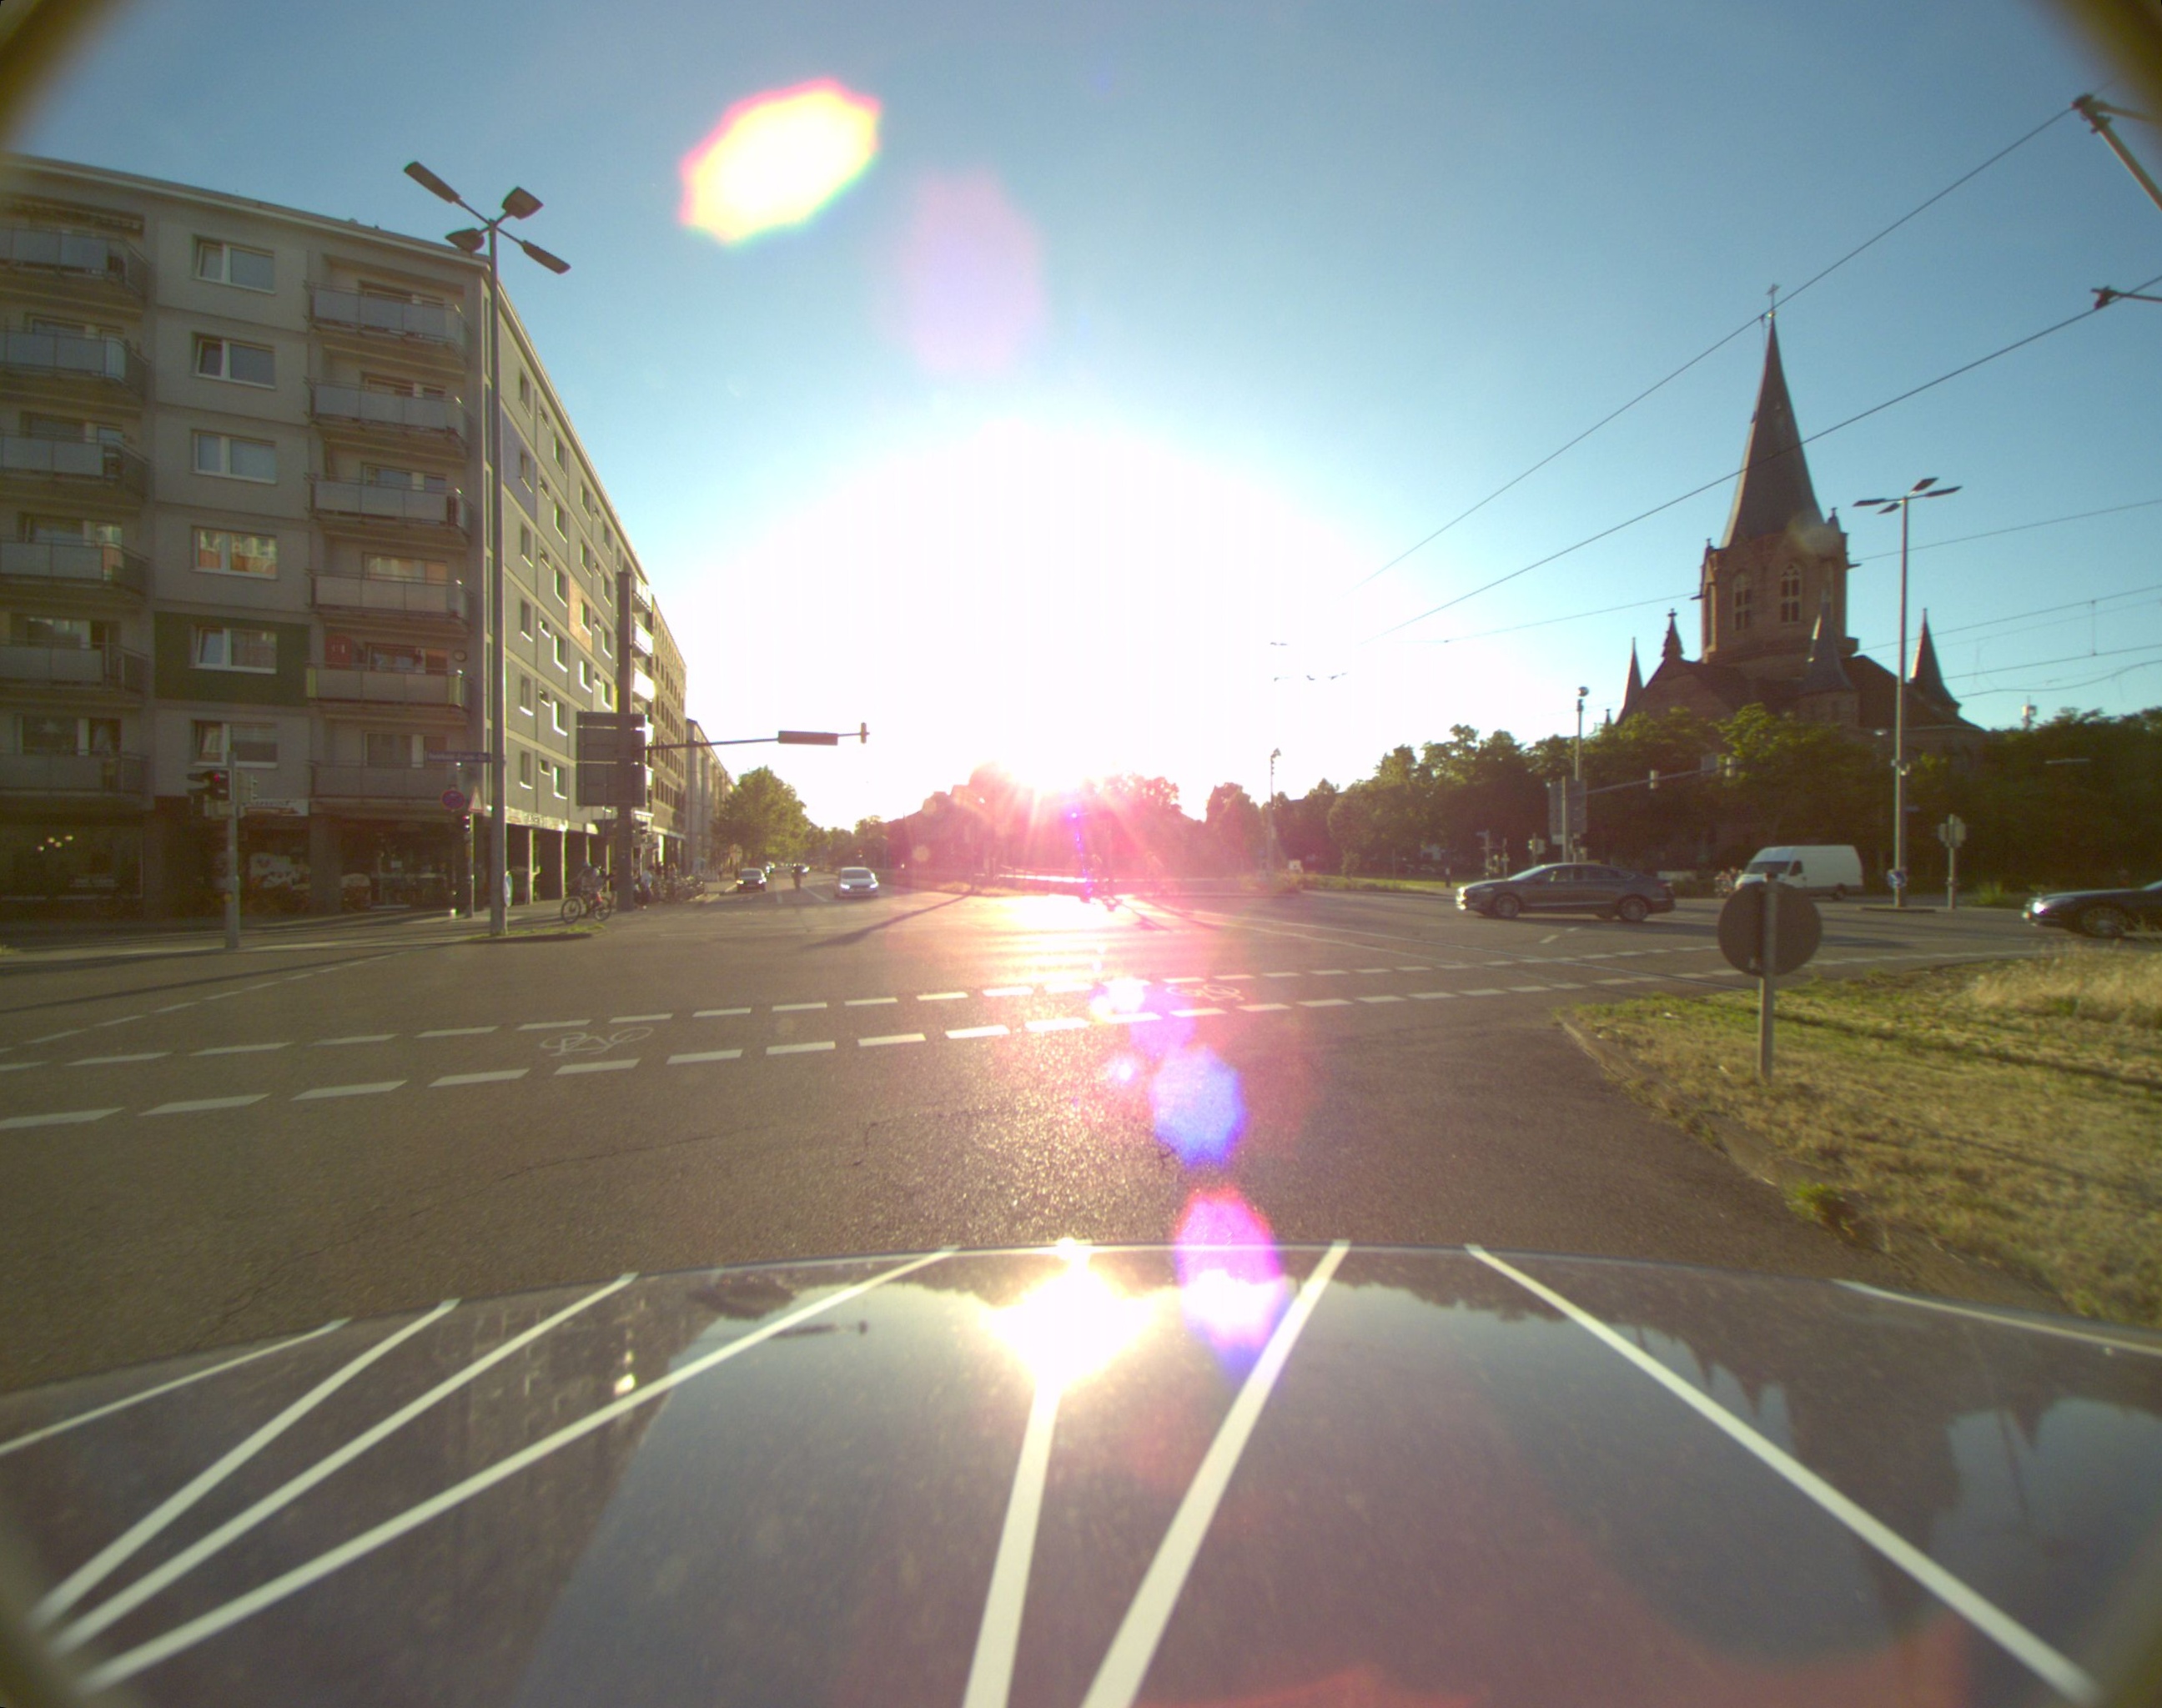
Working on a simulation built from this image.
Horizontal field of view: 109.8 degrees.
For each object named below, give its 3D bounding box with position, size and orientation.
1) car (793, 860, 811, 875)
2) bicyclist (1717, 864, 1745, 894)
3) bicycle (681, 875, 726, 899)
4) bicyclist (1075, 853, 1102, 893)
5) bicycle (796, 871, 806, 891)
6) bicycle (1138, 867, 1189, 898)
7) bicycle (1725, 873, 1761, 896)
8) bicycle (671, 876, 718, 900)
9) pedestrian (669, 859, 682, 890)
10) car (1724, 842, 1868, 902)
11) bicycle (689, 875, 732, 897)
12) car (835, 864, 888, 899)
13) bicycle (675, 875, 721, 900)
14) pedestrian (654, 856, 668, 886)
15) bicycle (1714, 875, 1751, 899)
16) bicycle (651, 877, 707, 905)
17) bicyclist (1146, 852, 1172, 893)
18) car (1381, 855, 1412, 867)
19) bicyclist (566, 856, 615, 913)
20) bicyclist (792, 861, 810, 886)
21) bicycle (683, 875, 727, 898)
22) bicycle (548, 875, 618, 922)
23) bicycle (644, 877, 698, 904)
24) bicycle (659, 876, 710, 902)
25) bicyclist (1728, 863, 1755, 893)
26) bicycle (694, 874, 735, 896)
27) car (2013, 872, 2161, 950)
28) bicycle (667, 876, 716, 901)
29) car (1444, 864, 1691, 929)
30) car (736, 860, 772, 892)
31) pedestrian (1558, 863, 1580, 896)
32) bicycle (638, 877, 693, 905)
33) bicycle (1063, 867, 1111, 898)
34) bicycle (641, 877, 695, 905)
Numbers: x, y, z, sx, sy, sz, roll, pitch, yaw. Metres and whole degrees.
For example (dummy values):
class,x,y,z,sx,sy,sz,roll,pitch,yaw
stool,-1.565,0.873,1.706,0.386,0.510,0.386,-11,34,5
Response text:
class,x,y,z,sx,sy,sz,roll,pitch,yaw
car,-34.899,1.678,95.180,2.002,1.739,3.994,0,0,-19
bicyclist,34.329,1.323,40.151,0.734,1.558,0.822,-1,0,-16
bicycle,-19.153,1.663,38.550,1.959,1.113,0.458,-1,0,-18
bicyclist,0.297,0.766,30.656,0.735,1.558,0.821,-1,0,-33
bicycle,-17.660,1.679,47.899,0.576,1.193,2.202,-1,0,-21
bicycle,3.291,1.128,30.217,1.973,1.175,0.490,0,0,-17
bicycle,36.165,1.648,41.516,1.973,1.175,0.490,-1,0,-17
bicycle,-18.603,1.640,36.626,1.959,1.113,0.458,-1,0,-18
pedestrian,-27.141,1.367,50.851,0.656,2.002,0.750,-1,0,-19
car,36.223,0.869,38.469,7.209,2.860,2.305,0,-1,-20
bicycle,-19.445,1.667,39.927,1.959,1.113,0.458,-1,0,-18
car,-10.512,1.271,36.234,1.958,1.484,3.952,-1,-1,-23
bicycle,-18.816,1.640,37.388,1.959,1.113,0.458,-1,0,-18
pedestrian,-27.915,1.120,50.500,0.718,2.002,0.645,0,0,-20
bicycle,34.442,1.744,40.180,1.973,1.175,0.490,-1,0,-17
bicycle,-16.571,1.519,31.361,1.959,1.113,0.458,-1,0,-18
bicyclist,3.090,0.726,30.167,0.734,1.558,0.822,-1,0,-16
car,49.997,1.092,120.445,4.120,1.811,2.004,-2,0,42
bicyclist,-13.625,0.843,21.115,0.822,1.558,0.734,-1,0,6
bicyclist,-17.618,1.225,47.788,0.997,1.529,0.921,-1,0,-20
bicycle,-19.312,1.667,39.089,1.959,1.113,0.458,-1,0,-18
bicycle,-13.595,1.181,20.816,0.490,1.175,1.972,-1,0,4
bicycle,-17.626,1.558,32.698,1.959,1.113,0.458,-1,0,-18
bicycle,-17.976,1.579,34.489,1.959,1.113,0.458,-1,0,-18
bicyclist,36.074,1.301,41.481,0.734,1.558,0.822,-1,0,-16
bicycle,-19.738,1.659,40.937,1.959,1.113,0.458,-1,0,-18
car,22.720,1.152,15.200,1.728,1.499,5.012,-2,1,-44
bicycle,-18.341,1.627,35.793,1.959,1.113,0.458,-1,0,-18
car,12.351,1.044,19.682,5.032,1.428,1.881,1,1,15
car,-21.273,1.407,49.387,2.002,2.002,3.992,-1,0,-25
pedestrian,25.367,1.303,39.509,0.663,1.672,0.657,0,0,-19
bicycle,-17.306,1.537,31.671,1.959,1.113,0.458,-1,0,-18
bicycle,0.265,1.150,30.647,1.975,1.175,0.489,-1,0,-33
bicycle,-17.476,1.543,32.175,1.959,1.113,0.458,-1,0,-18
